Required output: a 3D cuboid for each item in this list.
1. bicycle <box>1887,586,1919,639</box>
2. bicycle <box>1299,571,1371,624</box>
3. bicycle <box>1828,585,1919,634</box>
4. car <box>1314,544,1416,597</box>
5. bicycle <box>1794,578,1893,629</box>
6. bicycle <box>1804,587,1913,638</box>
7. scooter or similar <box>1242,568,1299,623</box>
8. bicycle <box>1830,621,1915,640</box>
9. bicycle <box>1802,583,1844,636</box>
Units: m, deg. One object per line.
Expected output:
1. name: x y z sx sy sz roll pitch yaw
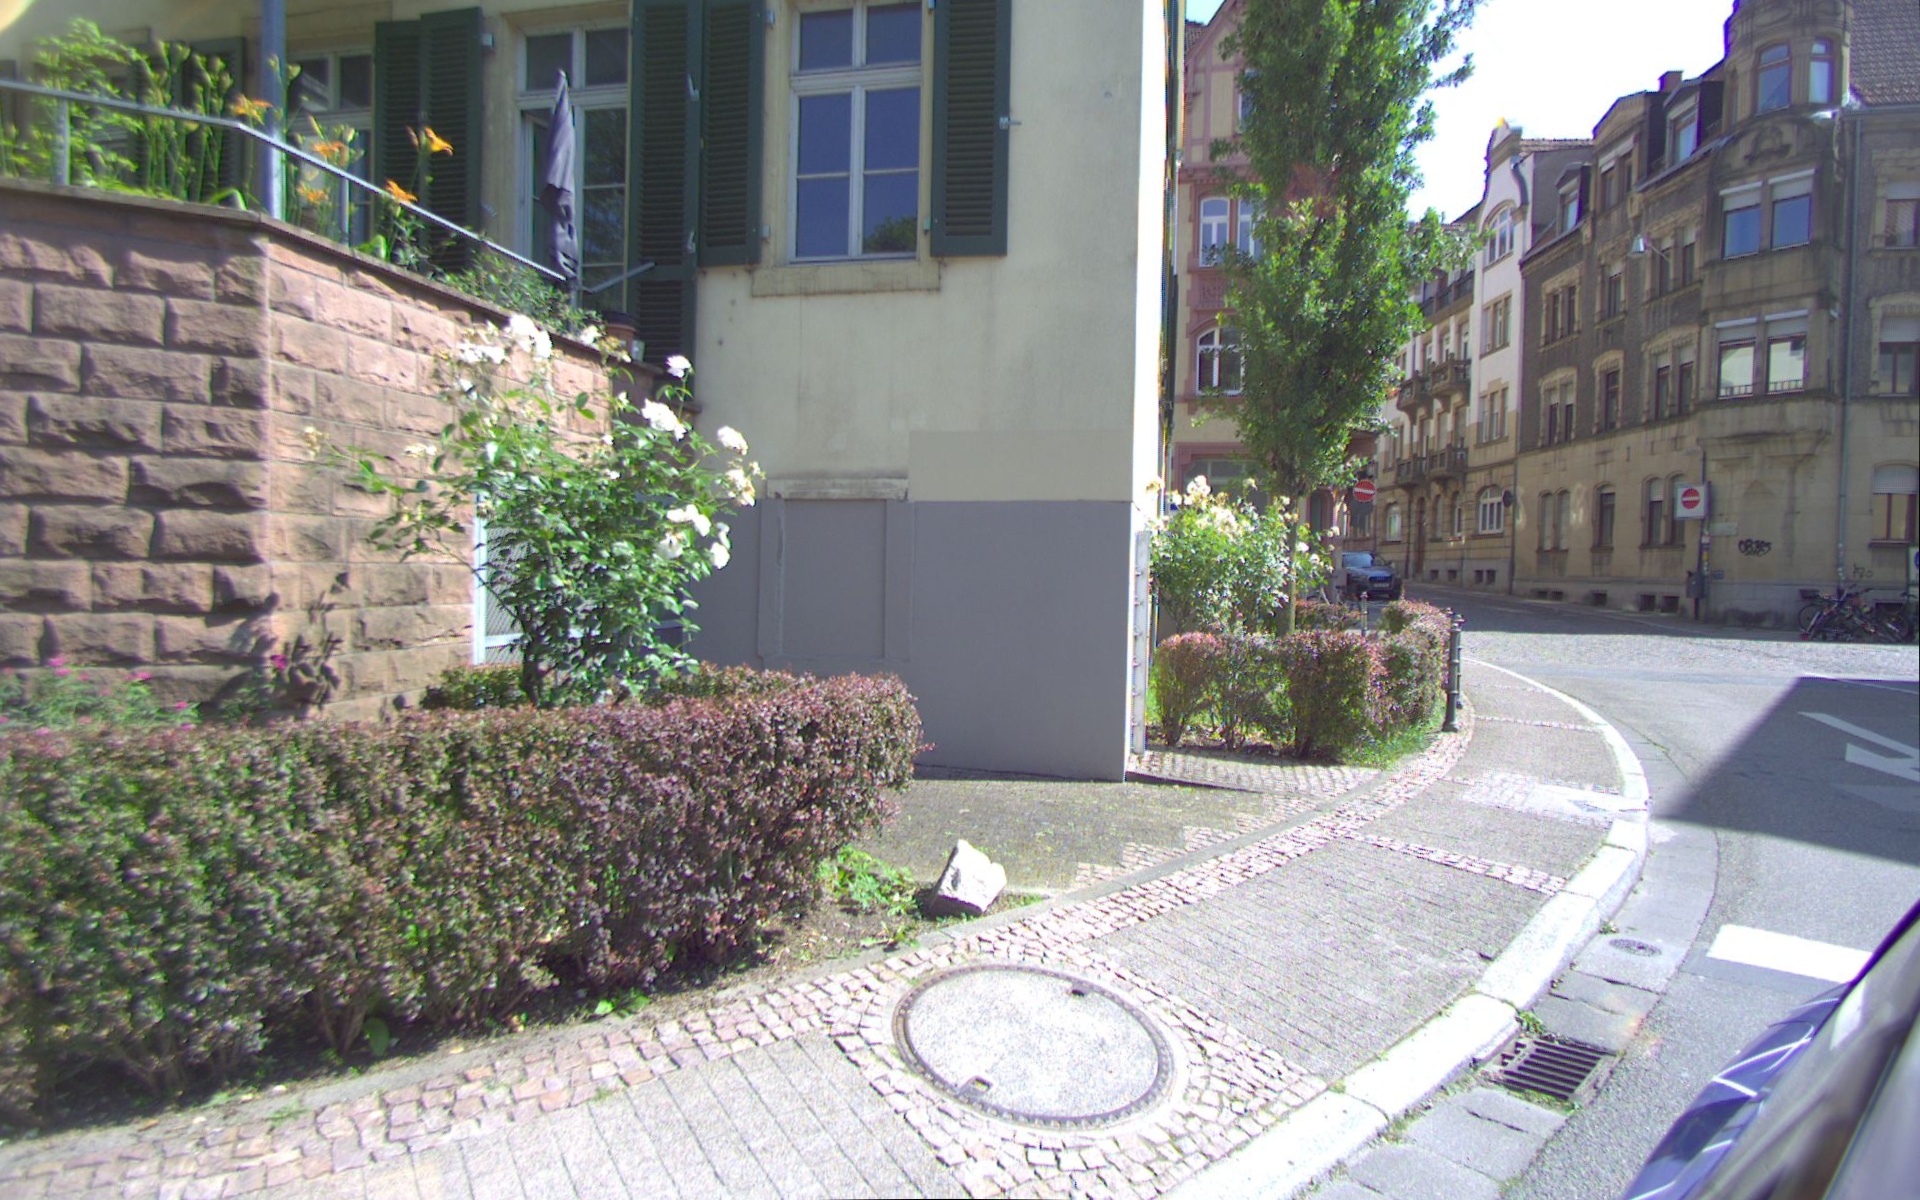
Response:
1. bicycle: 20.407 0.269 21.123 0.280 1.099 1.646 3 -1 -15
2. bicycle: 8.961 -0.086 24.256 0.495 1.160 1.798 1 3 -23
3. bicycle: 19.959 0.194 21.938 0.285 1.080 1.642 -42 1 3
4. car: 13.593 -1.059 34.274 1.828 1.601 4.261 -1 4 2
5. bicycle: 20.641 0.070 23.663 1.617 1.098 0.495 2 6 13
6. bicycle: 19.471 0.254 21.975 0.285 1.080 1.642 -42 1 3
7. scooter or similar: 7.309 -0.110 23.841 1.168 1.250 0.442 1 2 -1
8. bicycle: 19.443 0.644 21.589 1.068 0.291 1.114 2 3 27
9. bicycle: 18.857 0.184 22.136 0.283 1.099 1.628 -2 1 26
